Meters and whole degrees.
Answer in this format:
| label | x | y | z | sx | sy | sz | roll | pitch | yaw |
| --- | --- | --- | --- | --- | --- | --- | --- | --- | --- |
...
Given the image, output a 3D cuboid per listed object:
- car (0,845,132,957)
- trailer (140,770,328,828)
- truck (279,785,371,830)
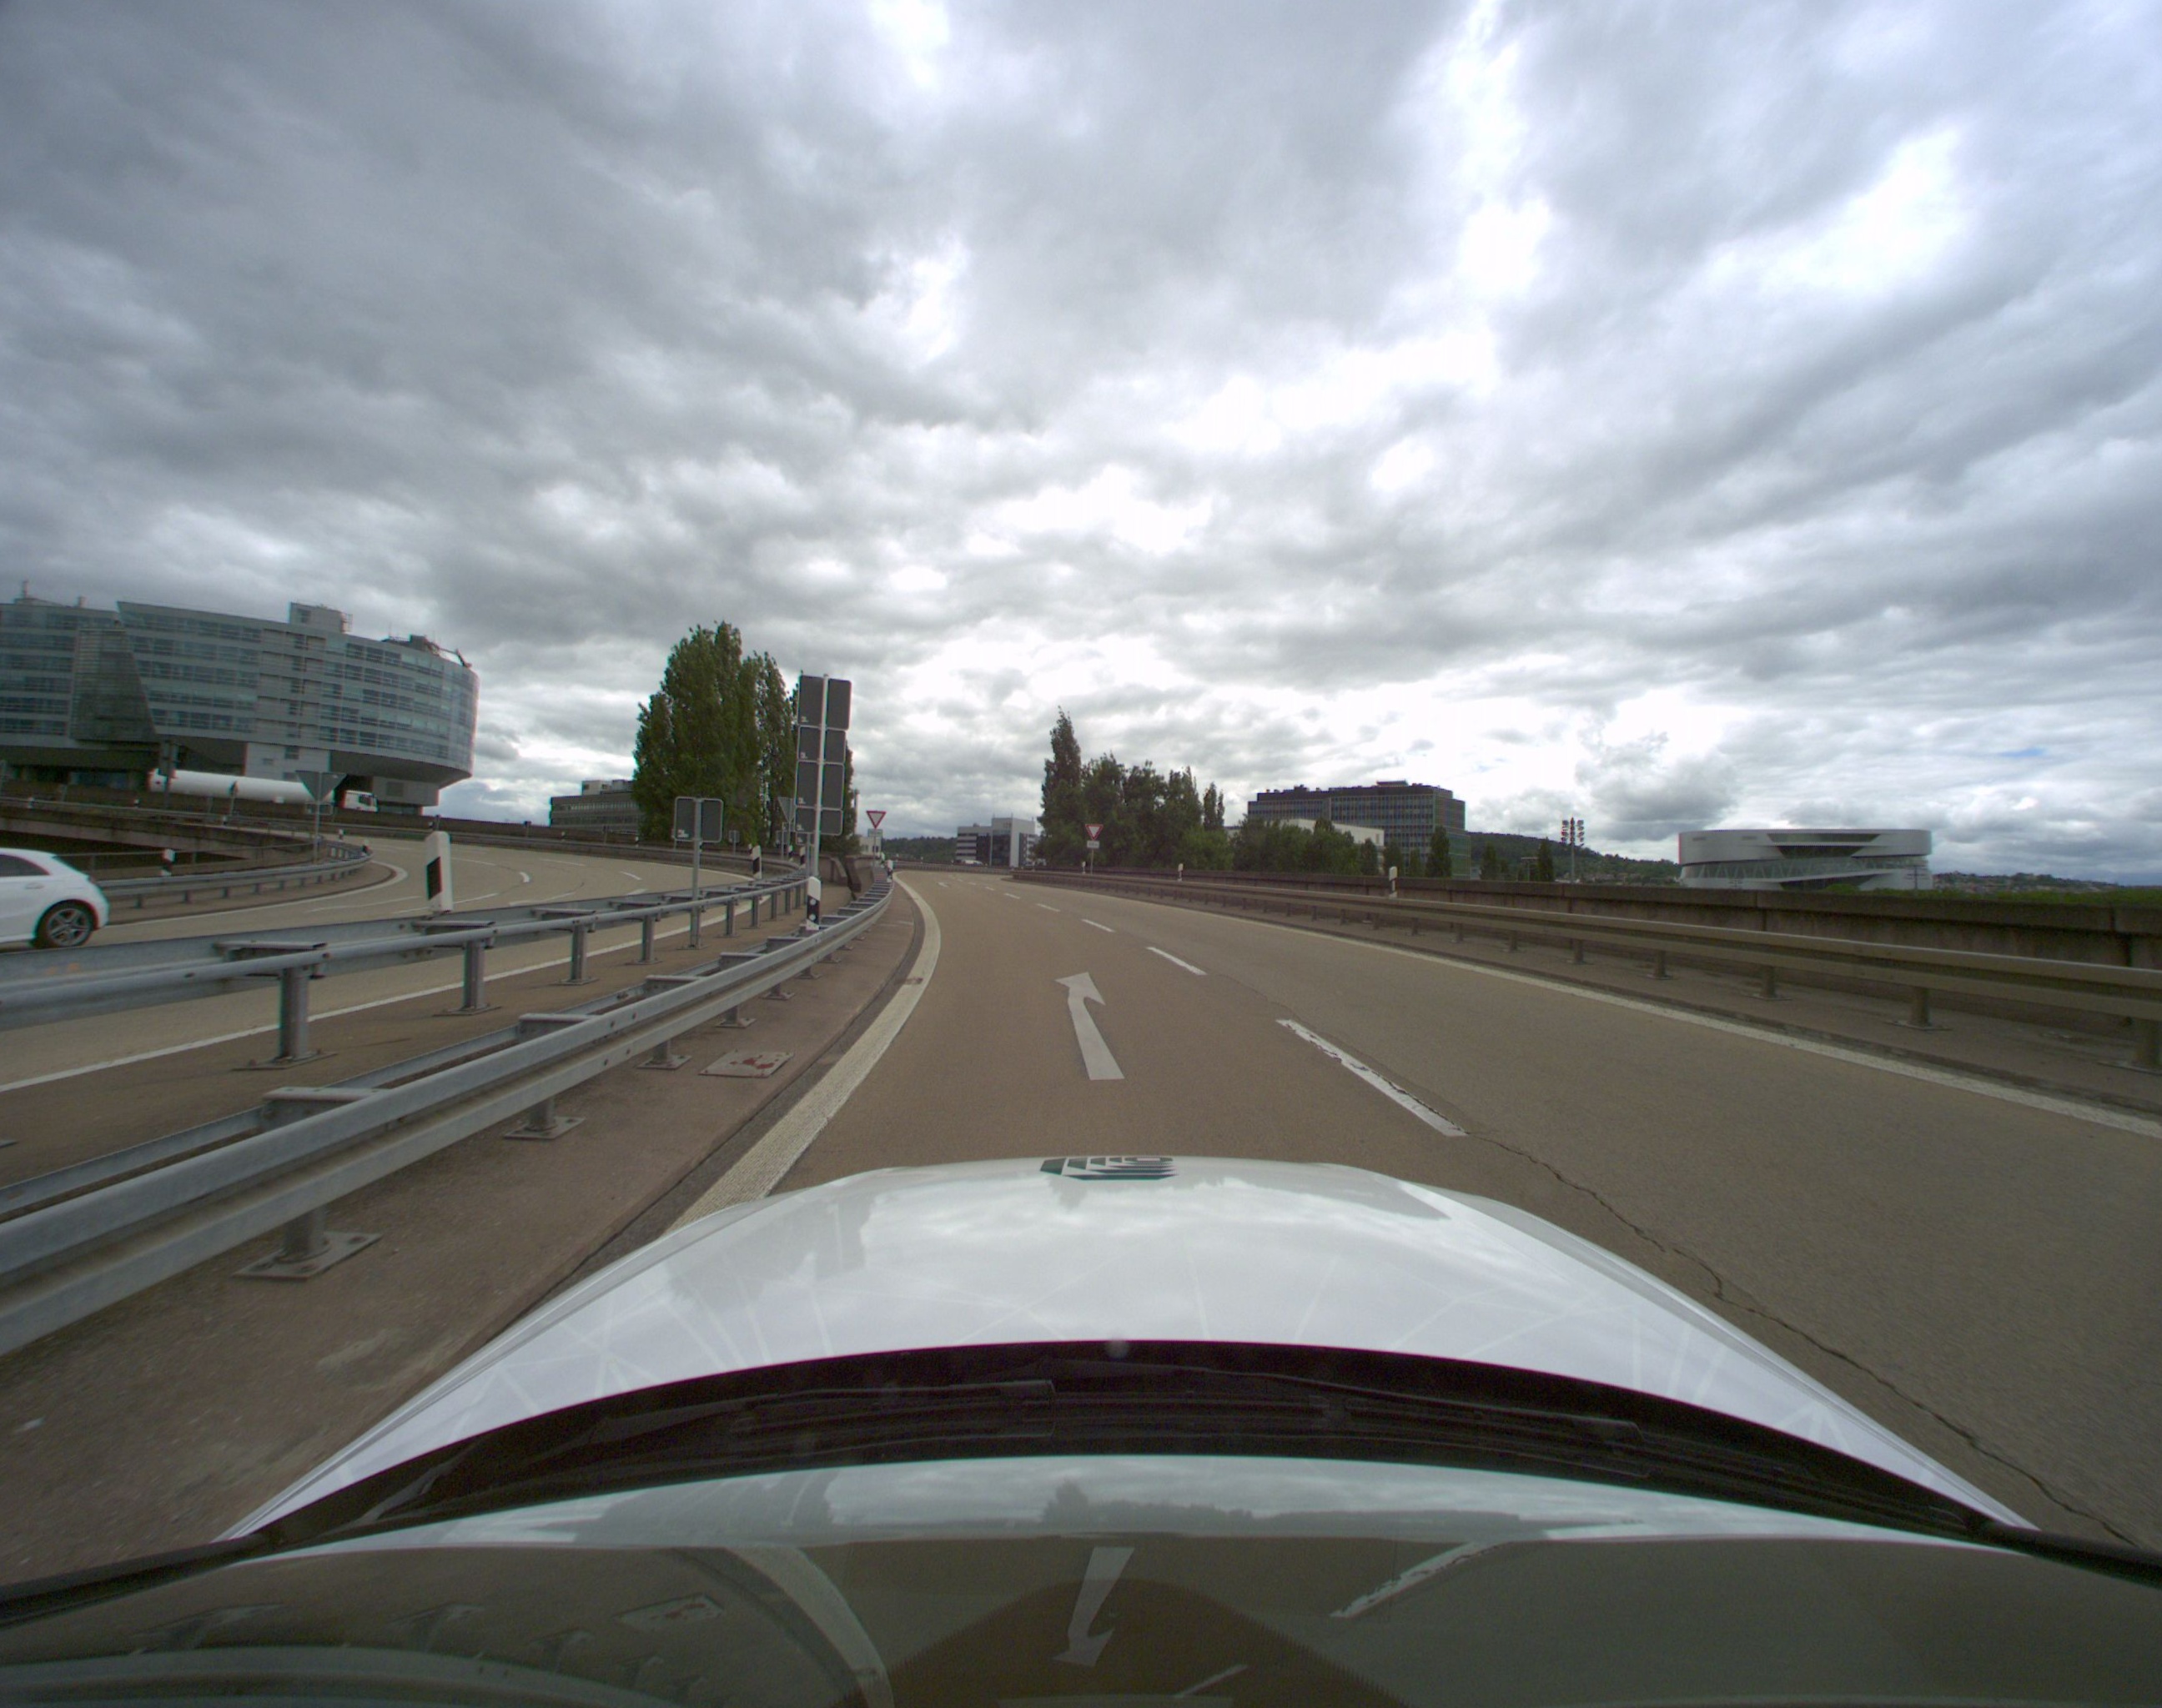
| label | x | y | z | sx | sy | sz | roll | pitch | yaw |
| --- | --- | --- | --- | --- | --- | --- | --- | --- | --- |
| car | -14.540 | 0.617 | 9.607 | 1.910 | 1.414 | 4.353 | -2 | 0 | -8 |
| trailer | -74.694 | -4.752 | 72.381 | 11.213 | 3.738 | 2.767 | 5 | -4 | -43 |
| truck | -70.609 | -4.256 | 76.165 | 5.996 | 3.431 | 2.744 | 5 | -4 | -42 |
